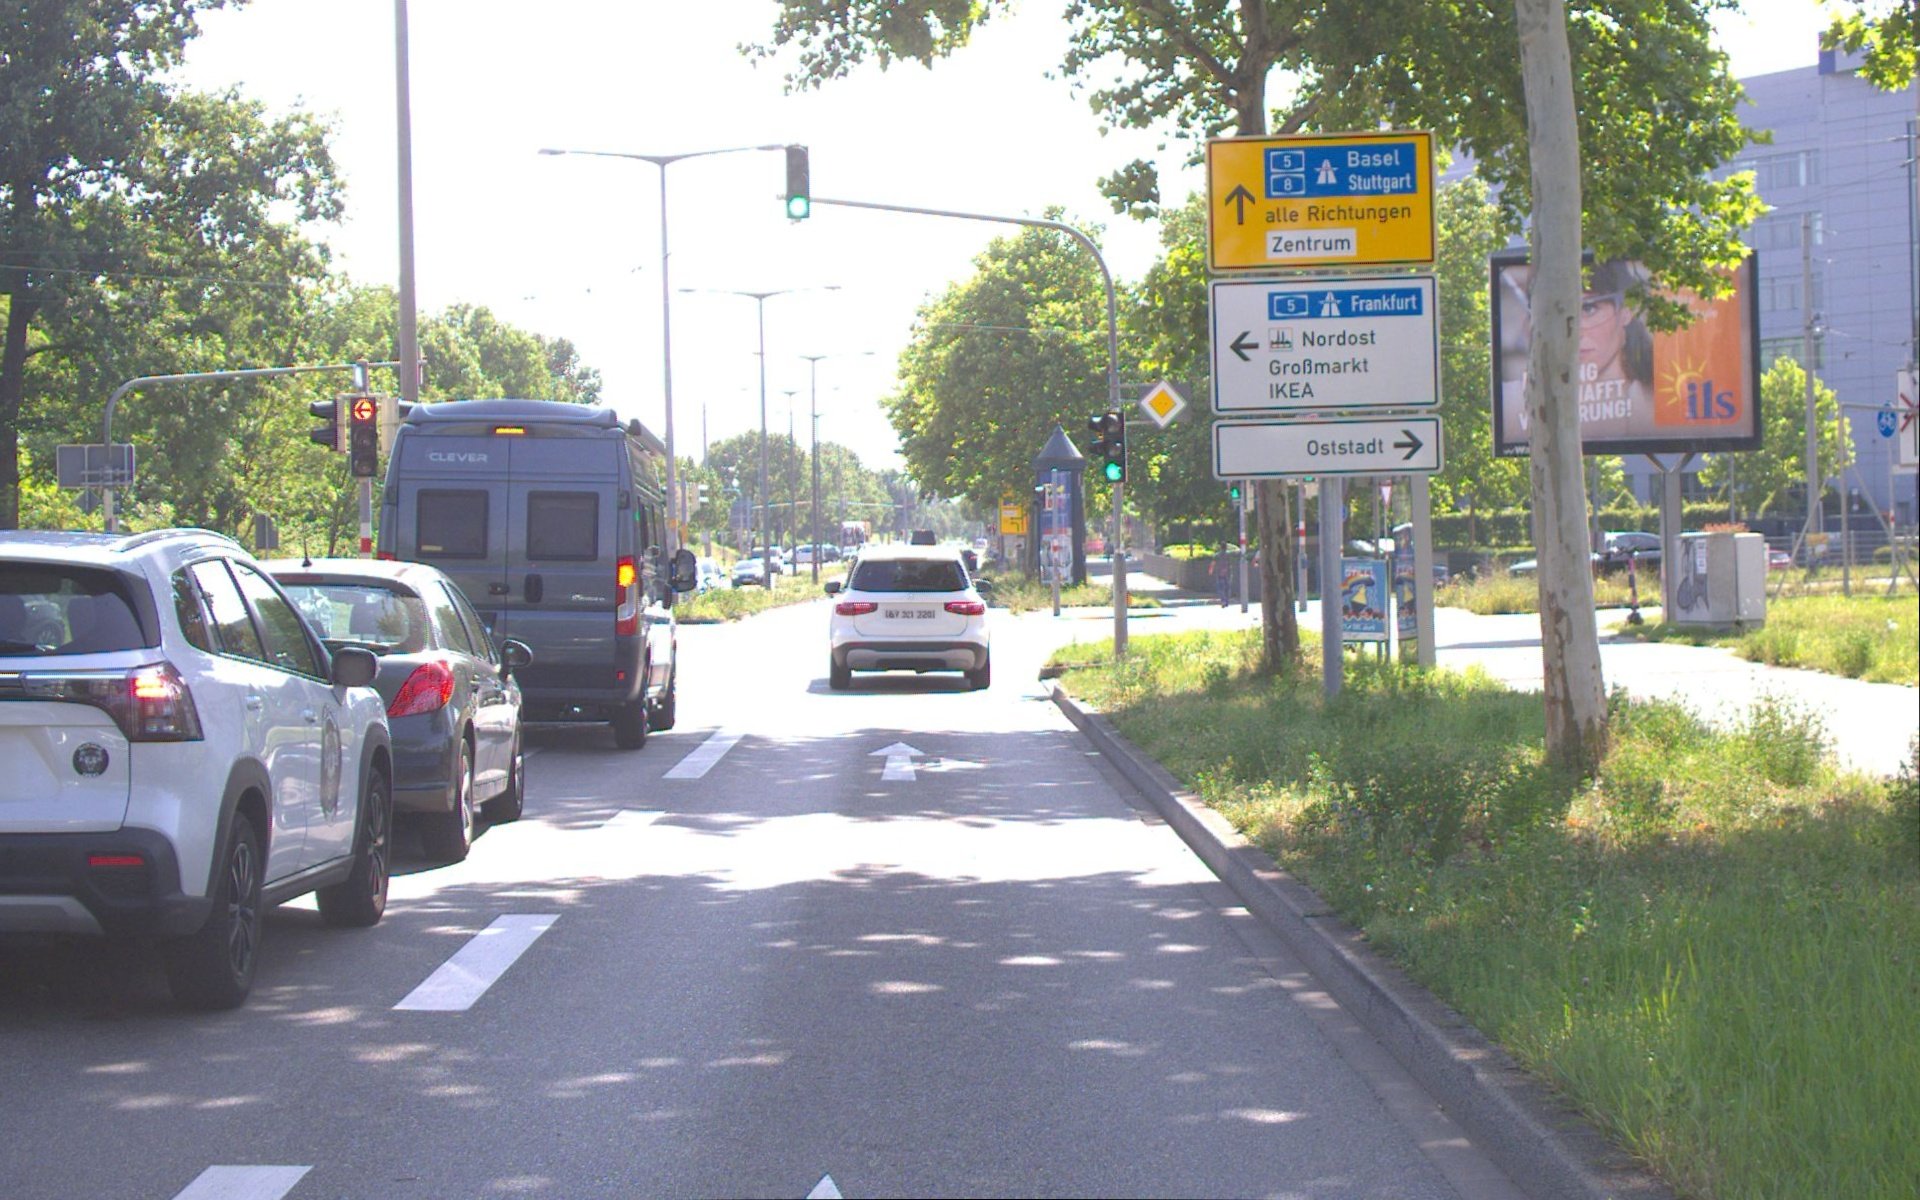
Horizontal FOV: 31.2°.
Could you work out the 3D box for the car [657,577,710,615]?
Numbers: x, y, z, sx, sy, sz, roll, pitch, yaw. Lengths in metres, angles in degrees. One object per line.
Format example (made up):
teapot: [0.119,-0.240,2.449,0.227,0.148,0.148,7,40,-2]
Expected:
car: [-8.372,-0.117,104.201,1.369,1.108,3.207,-1,0,0]

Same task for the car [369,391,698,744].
car: [-3.412,-0.260,28.431,2.081,2.647,4.874,1,0,0]

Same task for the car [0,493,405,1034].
car: [-3.235,0.483,12.486,1.771,1.641,4.084,0,0,0]

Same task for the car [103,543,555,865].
car: [-3.223,0.472,18.264,1.691,1.499,3.886,1,1,0]

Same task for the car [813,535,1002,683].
car: [-0.563,0.061,40.184,1.854,1.602,4.000,1,1,4]
